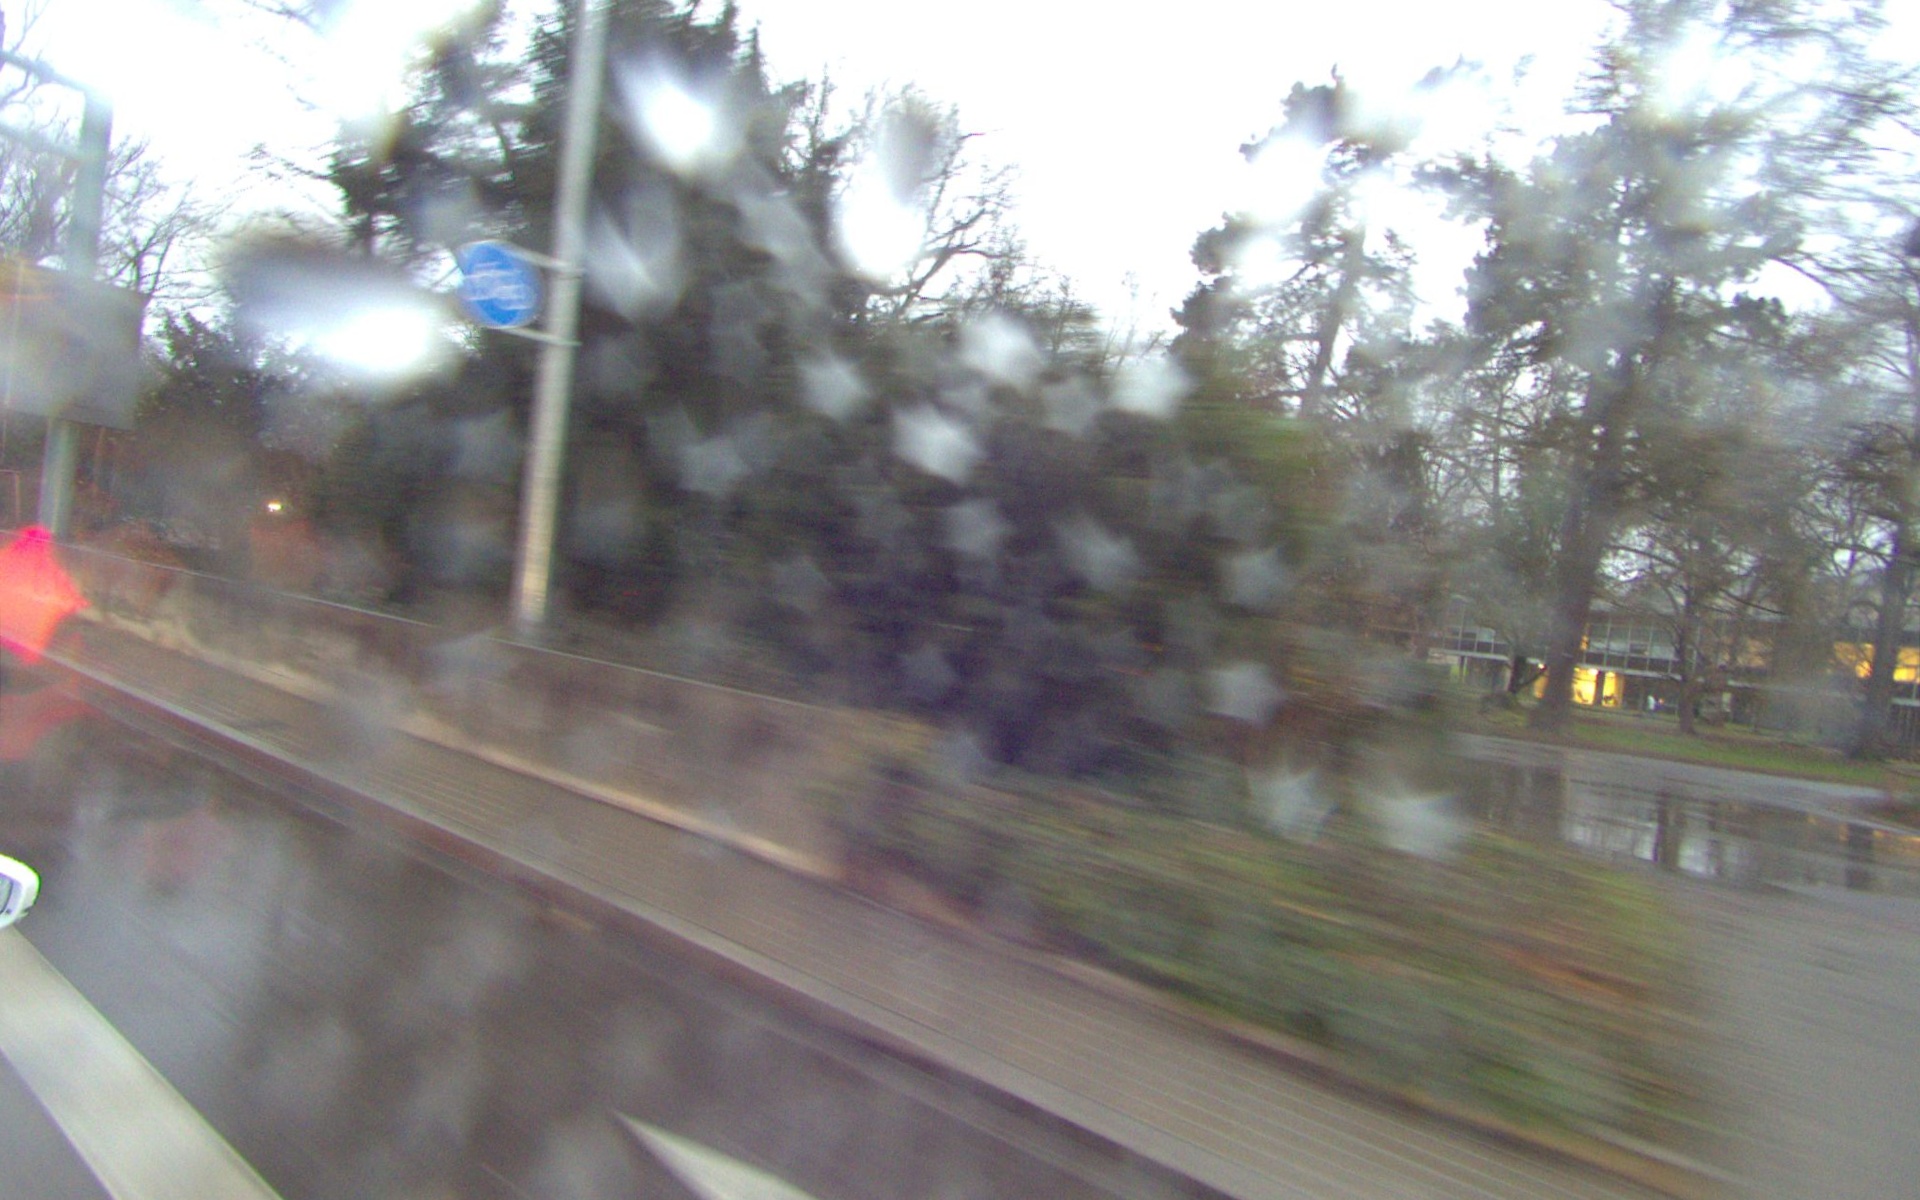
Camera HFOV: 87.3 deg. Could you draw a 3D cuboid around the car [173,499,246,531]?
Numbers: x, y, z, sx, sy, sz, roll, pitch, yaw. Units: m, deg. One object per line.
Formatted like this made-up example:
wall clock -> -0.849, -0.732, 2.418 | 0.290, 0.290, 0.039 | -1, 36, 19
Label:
car -> -56.528, -6.373, 75.861 | 3.928, 1.681, 1.818 | 8, -1, -2
